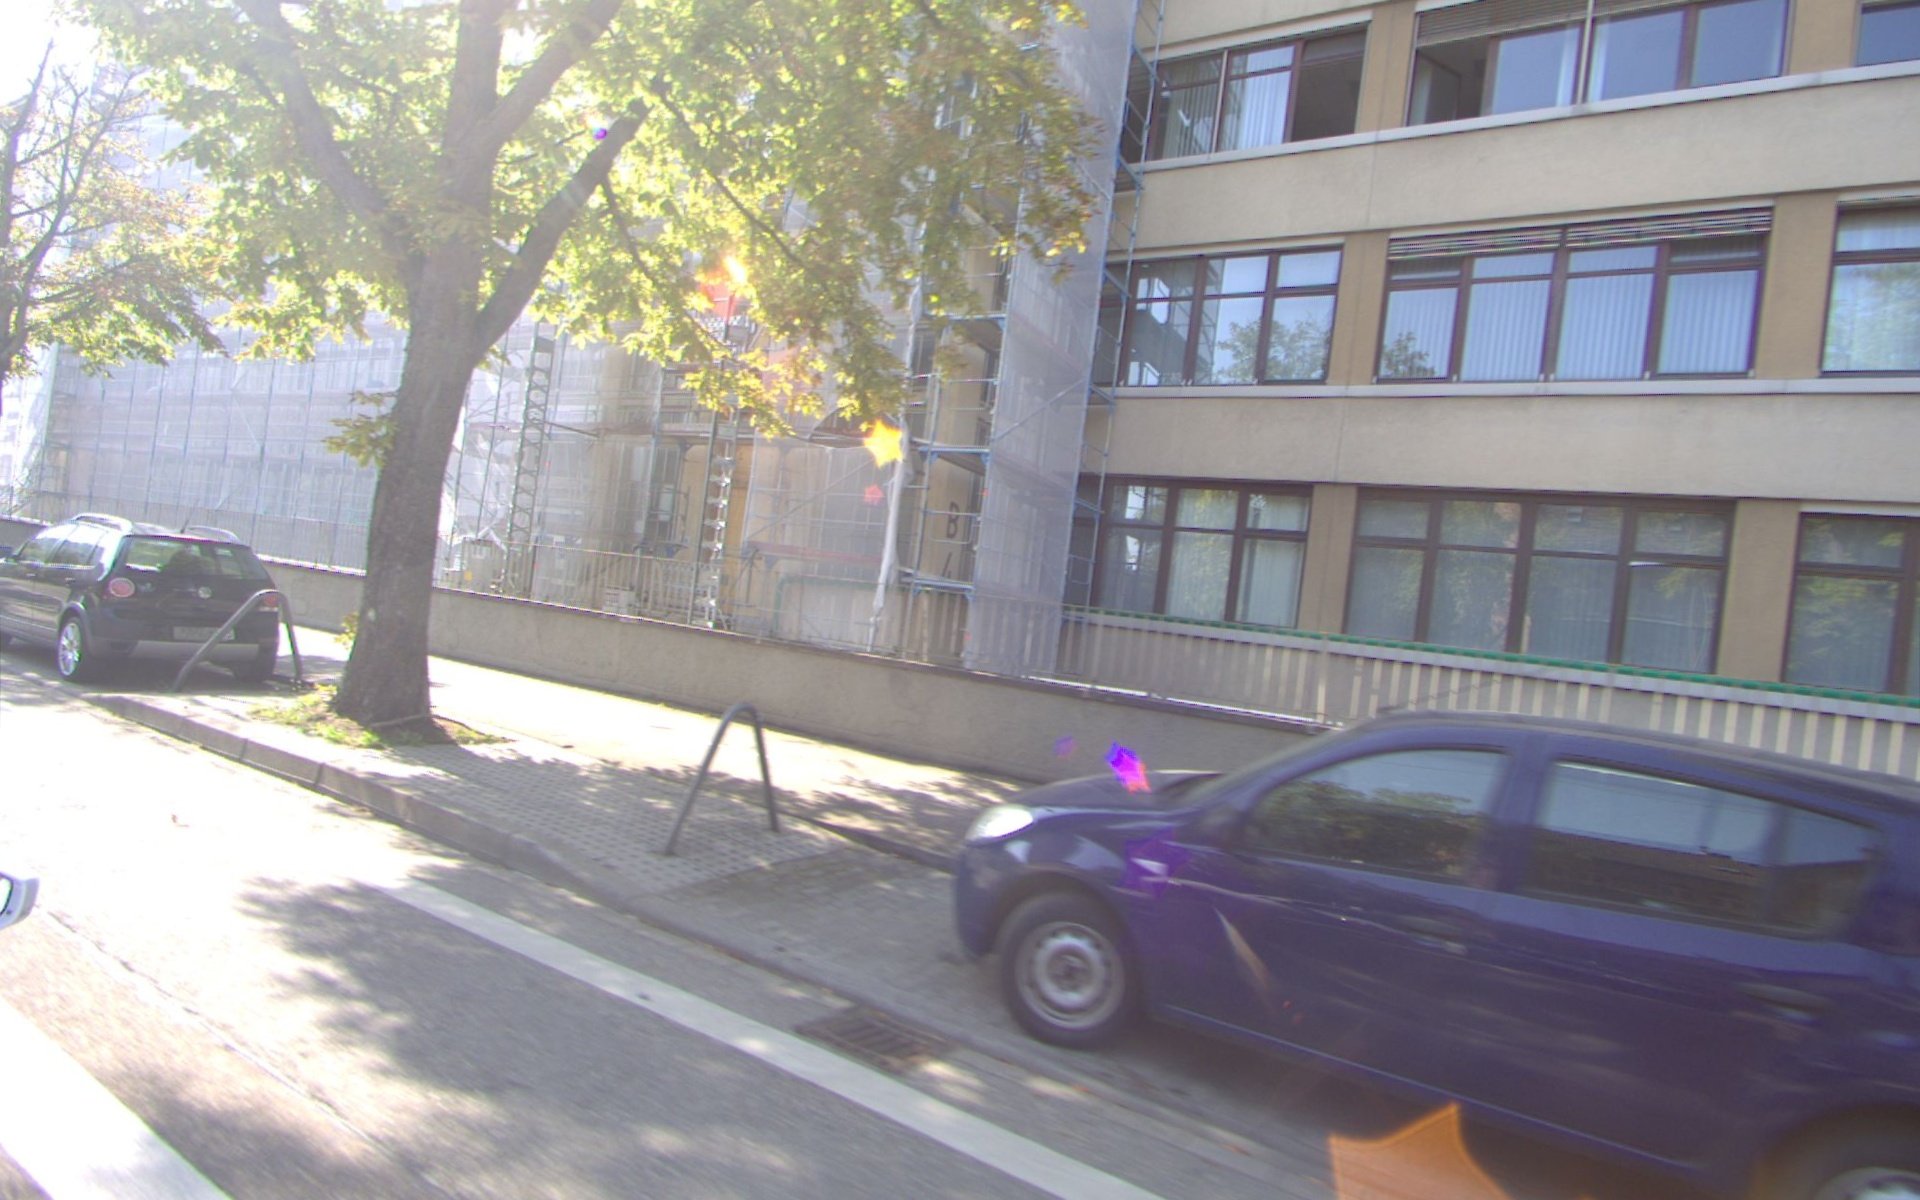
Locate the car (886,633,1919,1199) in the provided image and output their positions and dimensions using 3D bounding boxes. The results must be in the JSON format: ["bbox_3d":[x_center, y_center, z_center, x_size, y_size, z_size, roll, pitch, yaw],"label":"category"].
[{"bbox_3d":[1.755,1.125,4.019,3.715,1.530,1.647,6,0,32],"label":"car"}]

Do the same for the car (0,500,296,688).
[{"bbox_3d":[-8.828,-0.111,10.553,3.676,1.502,1.579,7,-2,32],"label":"car"}]
